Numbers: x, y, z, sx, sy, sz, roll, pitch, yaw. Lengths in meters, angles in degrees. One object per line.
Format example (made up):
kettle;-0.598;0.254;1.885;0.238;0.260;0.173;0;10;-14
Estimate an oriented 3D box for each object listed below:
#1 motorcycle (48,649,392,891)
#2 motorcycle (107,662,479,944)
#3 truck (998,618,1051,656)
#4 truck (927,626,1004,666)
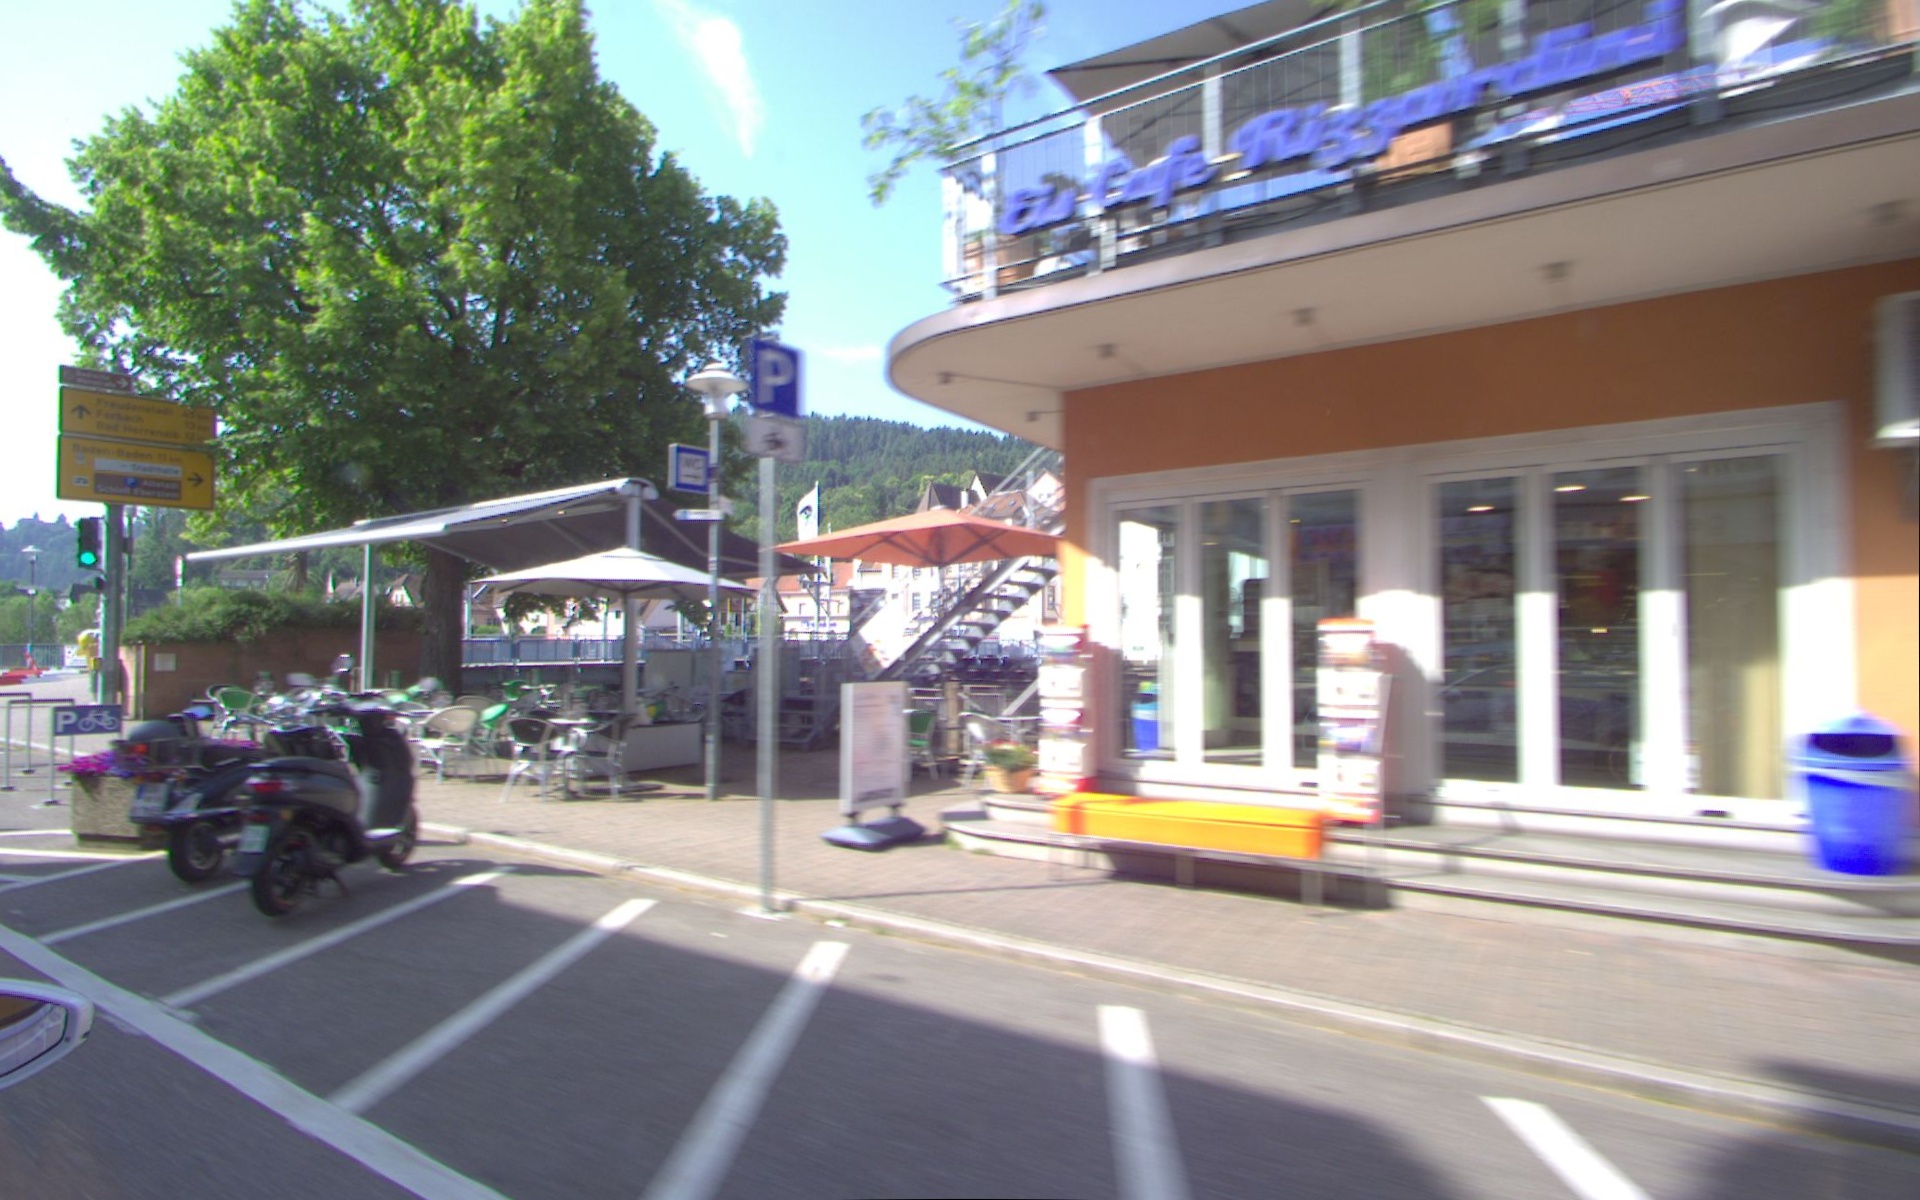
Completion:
motorcycle;-4.815;1.030;6.741;0.899;1.375;1.901;1;-2;-1
motorcycle;-3.689;1.034;5.845;0.911;1.286;2.091;1;-2;-6
truck;4.687;2.722;72.270;1.842;2.617;4.237;-1;-3;35
truck;0.493;3.291;72.557;2.082;2.733;7.095;-2;-2;33
